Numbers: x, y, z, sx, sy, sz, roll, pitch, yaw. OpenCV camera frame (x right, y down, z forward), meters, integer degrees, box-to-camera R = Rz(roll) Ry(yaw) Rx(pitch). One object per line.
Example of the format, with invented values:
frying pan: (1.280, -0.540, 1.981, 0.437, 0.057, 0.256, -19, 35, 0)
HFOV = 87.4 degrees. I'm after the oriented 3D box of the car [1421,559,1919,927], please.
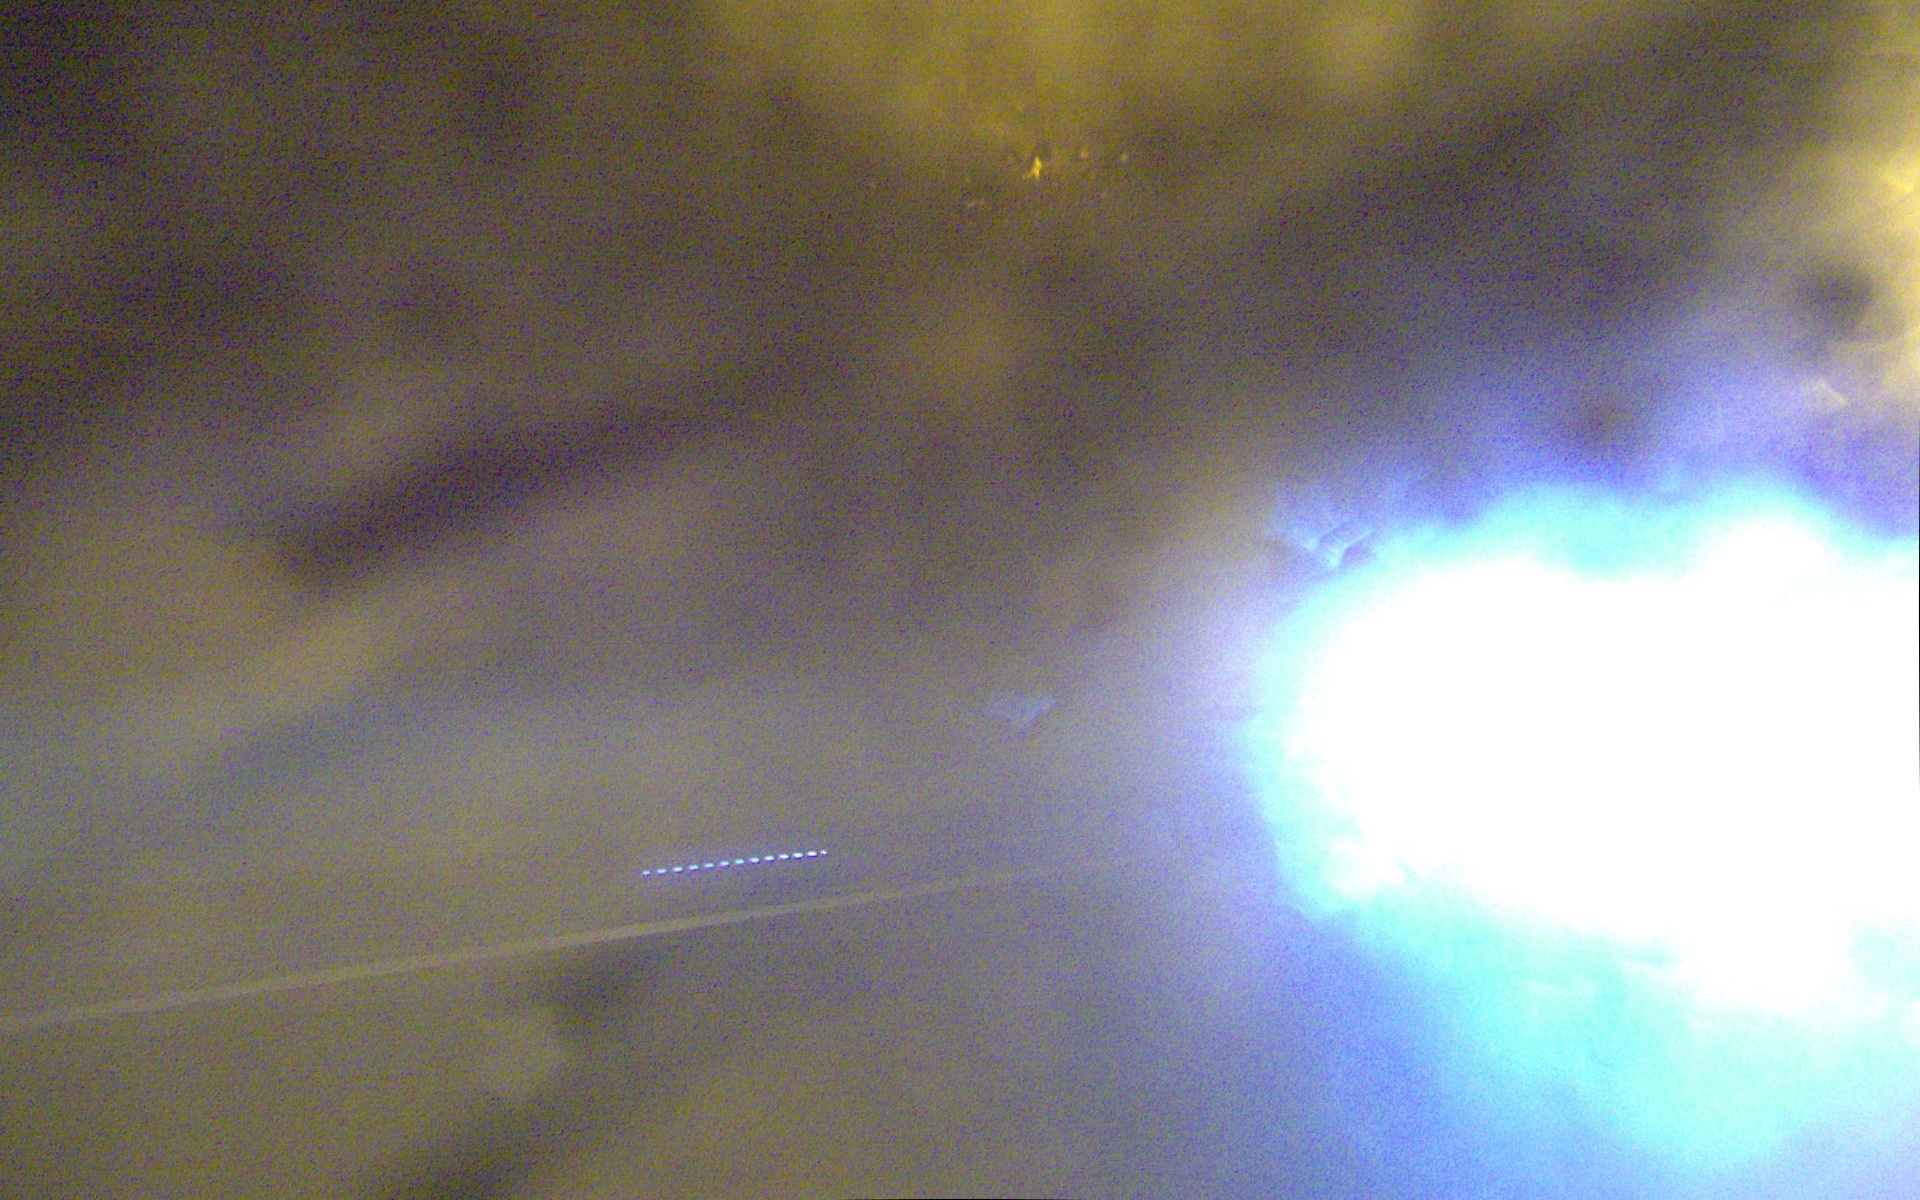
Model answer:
car: (5.285, 0.701, 6.663, 4.230, 1.732, 1.984, 1, 0, -30)
